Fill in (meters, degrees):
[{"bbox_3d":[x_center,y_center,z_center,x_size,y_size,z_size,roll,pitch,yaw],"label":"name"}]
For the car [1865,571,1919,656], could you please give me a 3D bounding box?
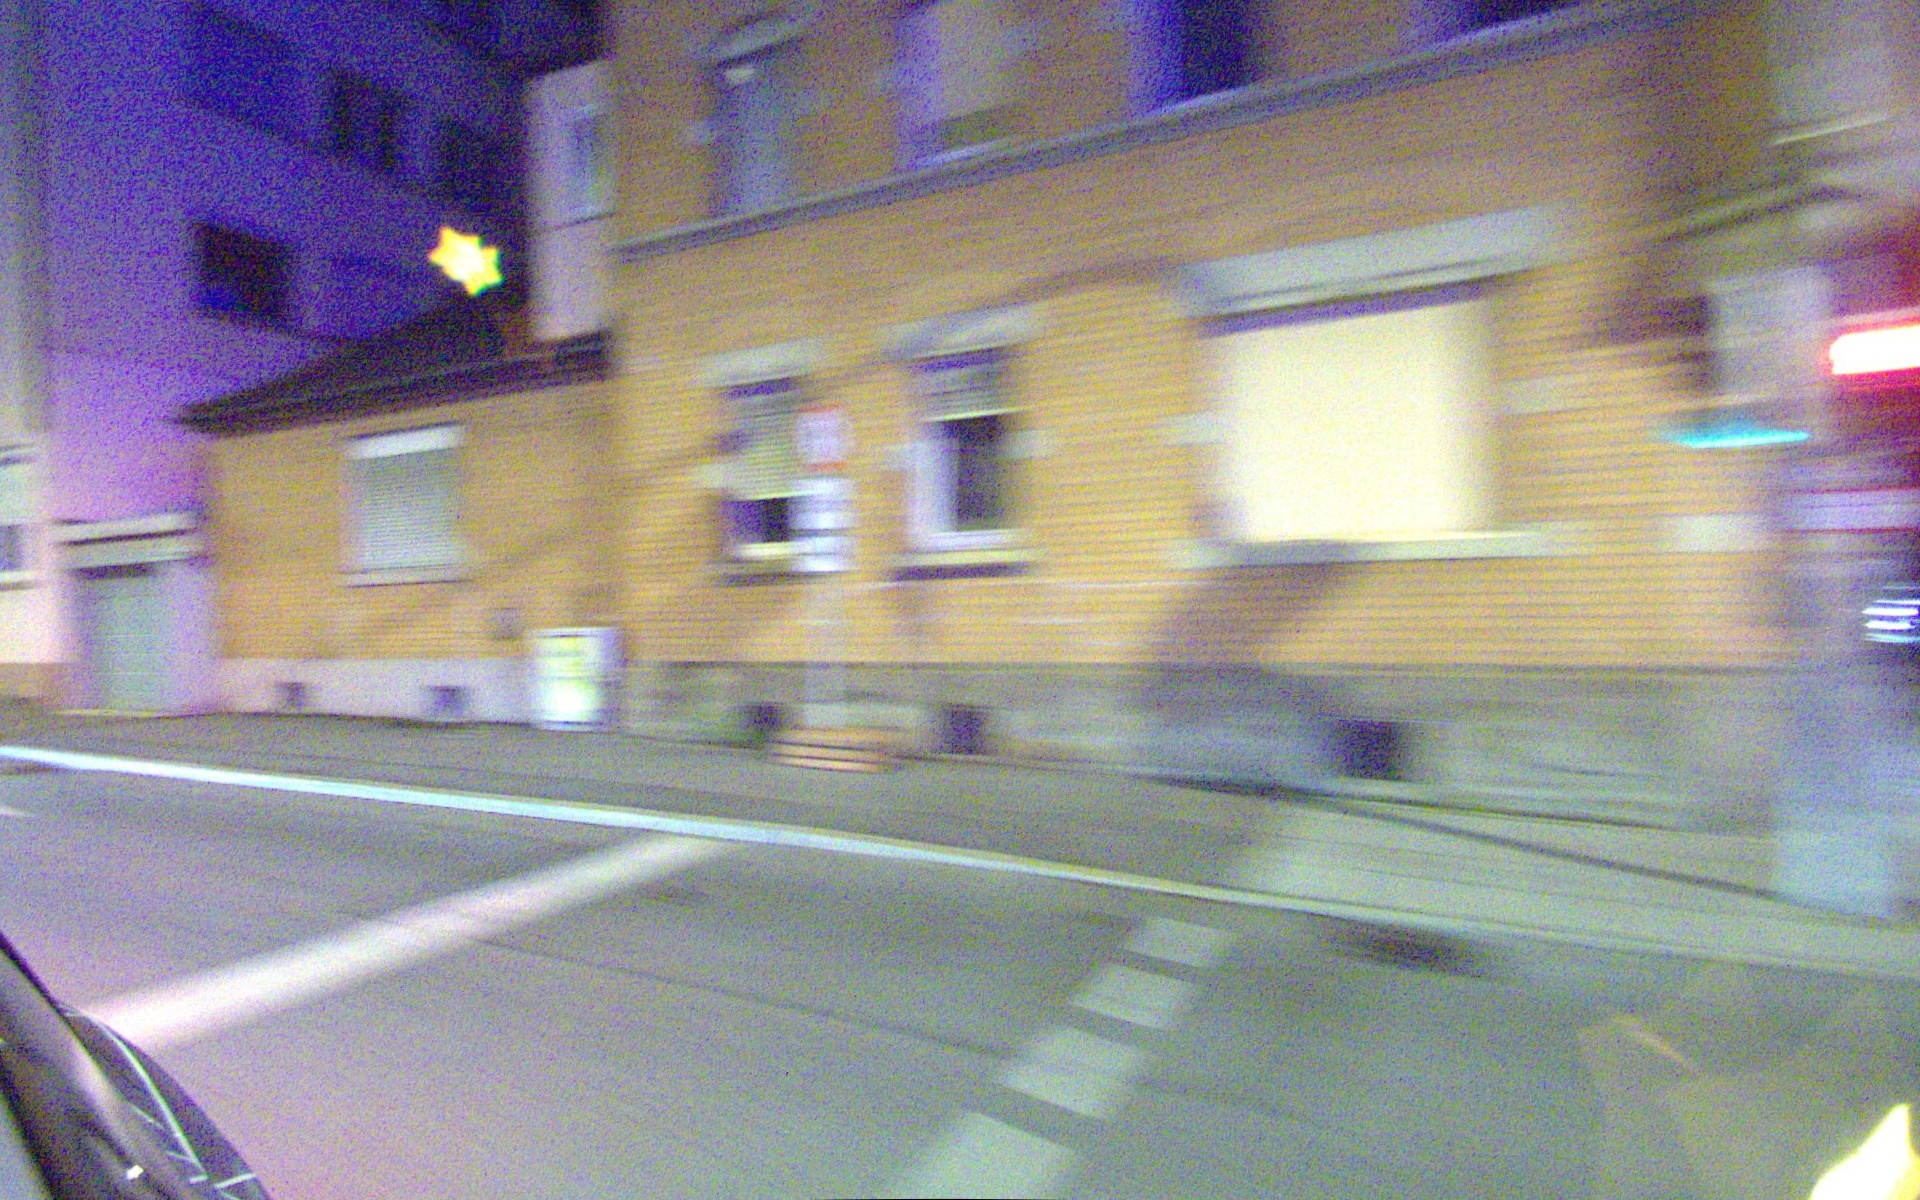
[{"bbox_3d":[21.278,0.274,21.228,1.984,1.795,3.976,-1,1,19],"label":"car"}]
